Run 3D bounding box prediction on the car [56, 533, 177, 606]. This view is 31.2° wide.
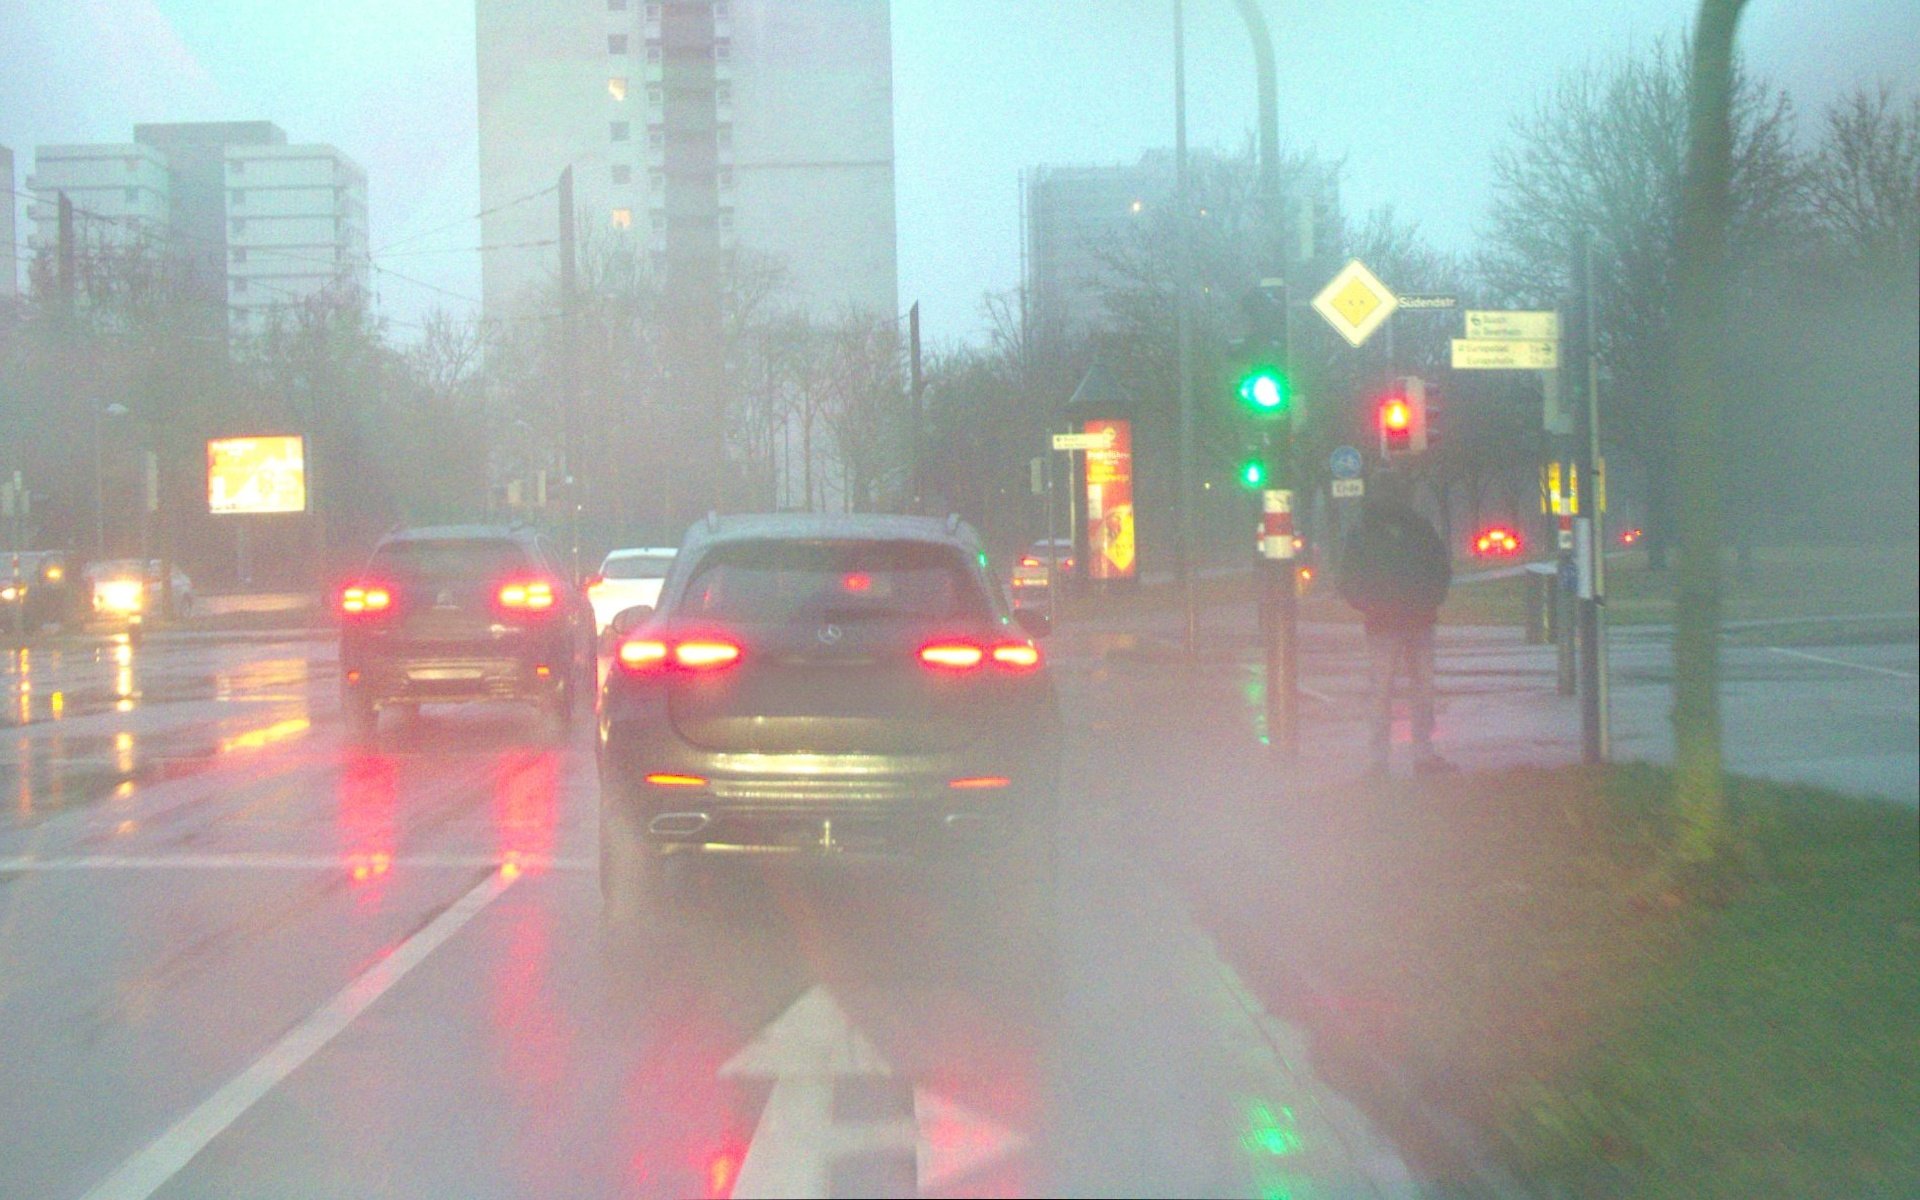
[{"bbox_3d":[-18.327,-0.645,74.870,1.587,1.524,4.935,0,0,-2],"label":"car"}]

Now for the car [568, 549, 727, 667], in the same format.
[{"bbox_3d":[-4.484,0.110,49.870,1.993,1.636,4.022,0,0,-1],"label":"car"}]

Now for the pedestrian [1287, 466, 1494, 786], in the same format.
[{"bbox_3d":[2.505,0.142,19.945,0.797,1.744,0.860,-5,1,26],"label":"pedestrian"}]

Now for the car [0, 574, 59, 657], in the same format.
[{"bbox_3d":[-19.285,0.302,68.457,1.804,1.601,4.000,0,0,-2],"label":"car"}]

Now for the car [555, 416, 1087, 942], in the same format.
[{"bbox_3d":[-0.610,0.295,14.928,1.993,1.969,4.068,0,0,-3],"label":"car"}]

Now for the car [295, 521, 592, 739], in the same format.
[{"bbox_3d":[-4.261,0.234,29.009,1.993,1.706,4.325,0,0,-2],"label":"car"}]

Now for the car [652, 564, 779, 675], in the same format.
[{"bbox_3d":[-4.561,0.351,64.581,1.993,2.007,4.000,0,0,2],"label":"car"}]
